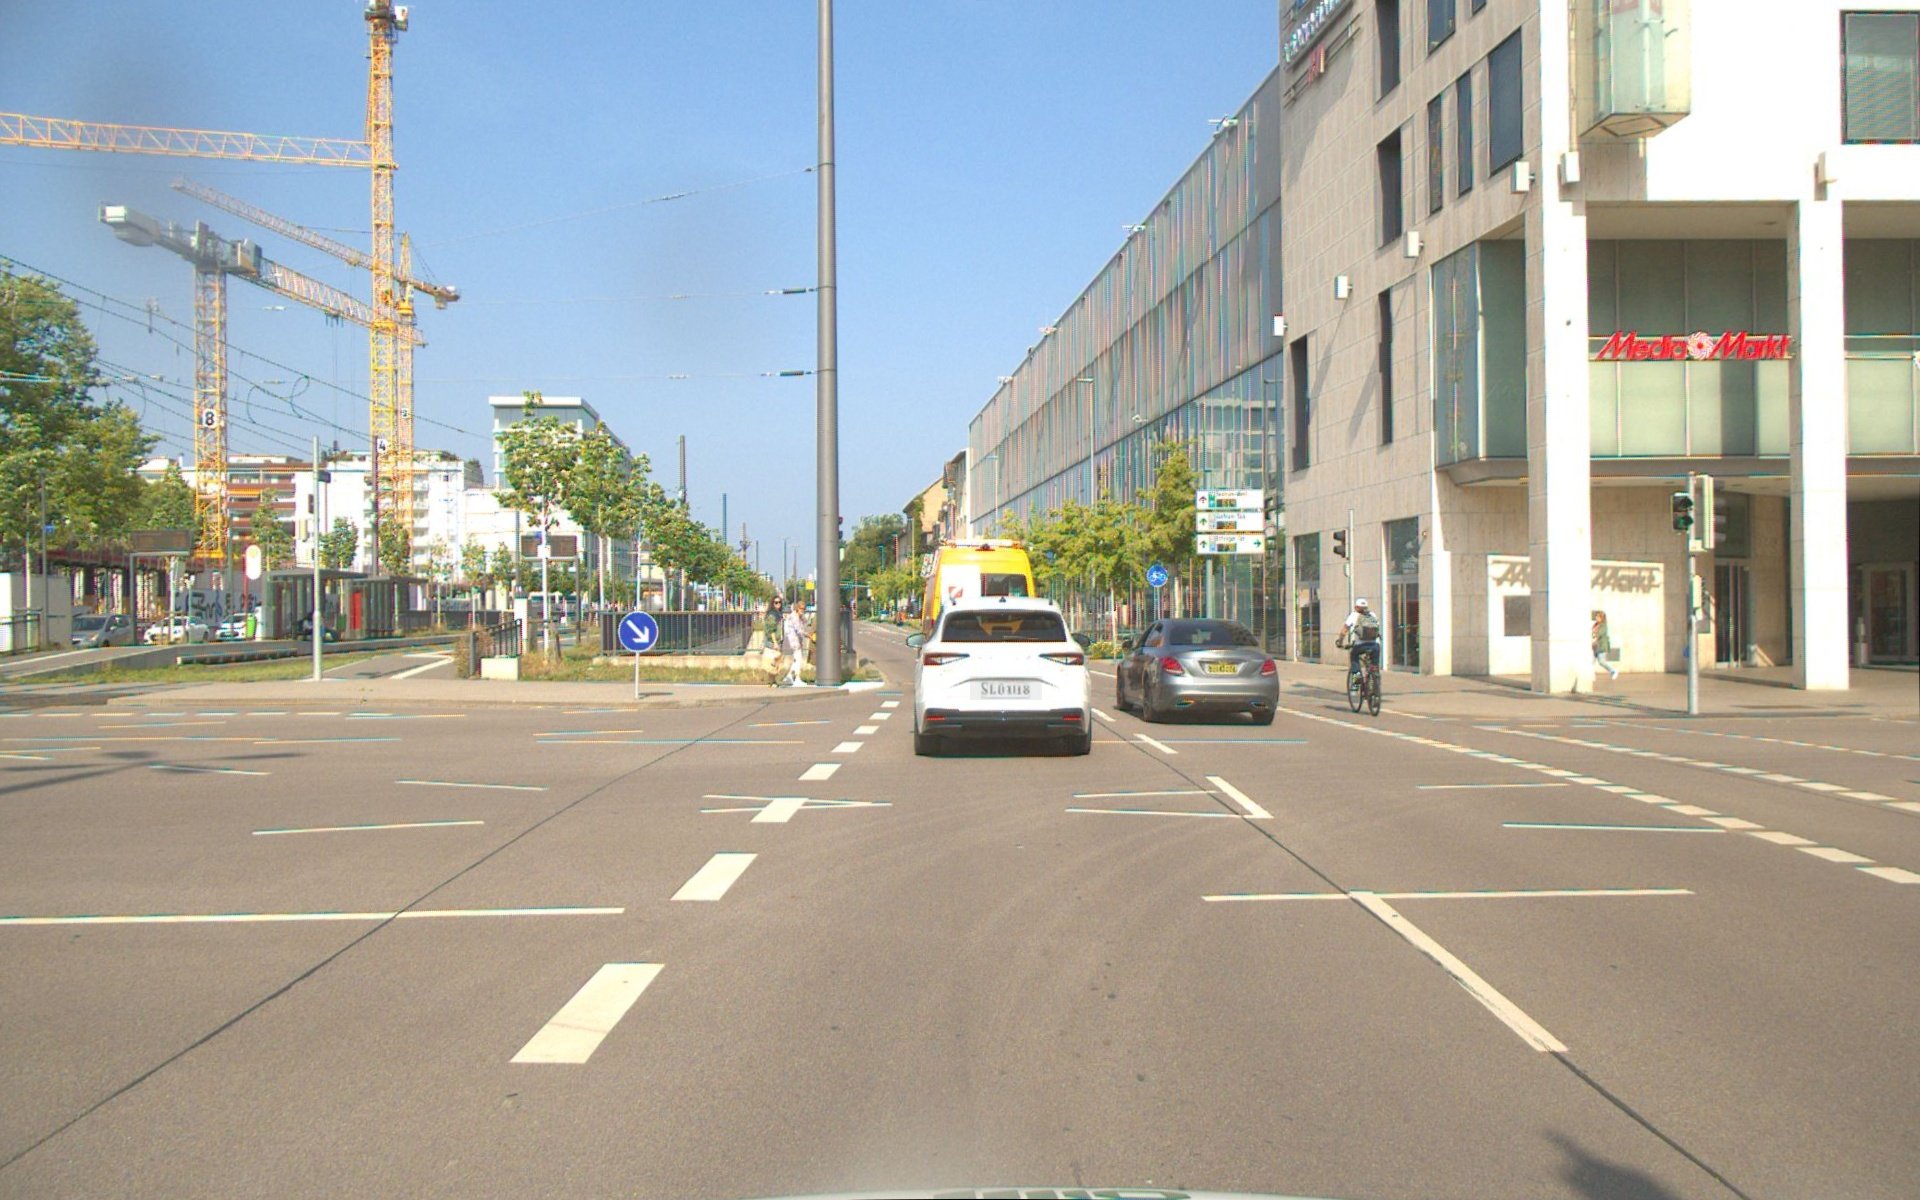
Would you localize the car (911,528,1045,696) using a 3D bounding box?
[{"bbox_3d":[0.229,0.186,31.008,1.981,2.845,5.395,0,0,-5],"label":"car"}]

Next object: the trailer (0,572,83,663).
[{"bbox_3d":[-30.860,0.559,54.097,2.005,2.829,5.015,1,-1,-6],"label":"trailer"}]

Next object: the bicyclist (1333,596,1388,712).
[{"bbox_3d":[6.293,0.839,25.996,0.638,1.779,0.769,-1,0,-3],"label":"bicyclist"}]

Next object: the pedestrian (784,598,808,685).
[{"bbox_3d":[-3.188,0.794,32.215,0.458,1.679,0.776,0,0,-5],"label":"pedestrian"}]

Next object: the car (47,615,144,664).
[{"bbox_3d":[-31.619,1.419,60.619,1.687,1.691,4.146,0,0,-5],"label":"car"}]

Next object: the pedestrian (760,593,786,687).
[{"bbox_3d":[-3.394,0.720,30.028,0.458,1.679,0.776,0,0,-5],"label":"pedestrian"}]

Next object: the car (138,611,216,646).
[{"bbox_3d":[-37.614,1.343,79.585,1.756,1.609,4.613,-1,0,-3],"label":"car"}]

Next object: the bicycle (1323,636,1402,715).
[{"bbox_3d":[6.299,1.163,25.977,0.648,1.137,2.050,-1,0,-3],"label":"bicycle"}]

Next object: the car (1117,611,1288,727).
[{"bbox_3d":[3.378,0.918,23.739,1.725,1.461,4.113,1,0,-2],"label":"car"}]

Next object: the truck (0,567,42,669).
[{"bbox_3d":[-35.713,0.660,57.945,2.963,3.649,8.878,-1,0,-6],"label":"truck"}]

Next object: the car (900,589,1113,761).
[{"bbox_3d":[0.372,0.714,17.723,1.833,1.602,3.996,0,0,-5],"label":"car"}]

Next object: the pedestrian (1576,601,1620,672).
[{"bbox_3d":[13.705,0.780,35.535,0.693,1.513,0.604,-1,0,-2],"label":"pedestrian"}]

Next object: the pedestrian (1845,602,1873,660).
[{"bbox_3d":[21.503,0.739,39.549,0.384,1.364,0.455,0,0,-5],"label":"pedestrian"}]

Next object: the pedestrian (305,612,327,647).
[{"bbox_3d":[-25.022,1.153,64.282,0.668,1.322,0.591,-1,0,-9],"label":"pedestrian"}]

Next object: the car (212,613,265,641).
[{"bbox_3d":[-38.702,1.427,88.777,1.565,1.489,3.430,-1,0,-5],"label":"car"}]

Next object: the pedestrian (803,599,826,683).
[{"bbox_3d":[-2.966,0.824,33.623,0.458,1.679,0.776,0,0,-5],"label":"pedestrian"}]

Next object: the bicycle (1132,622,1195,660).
[{"bbox_3d":[6.244,1.265,50.799,1.841,1.129,0.490,-1,0,-4],"label":"bicycle"}]

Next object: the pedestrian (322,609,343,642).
[{"bbox_3d":[-25.470,1.041,67.107,0.668,1.322,0.591,-1,0,-9],"label":"pedestrian"}]

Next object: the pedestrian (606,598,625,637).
[{"bbox_3d":[-14.535,0.748,69.810,0.721,1.647,0.710,0,-1,-6],"label":"pedestrian"}]
